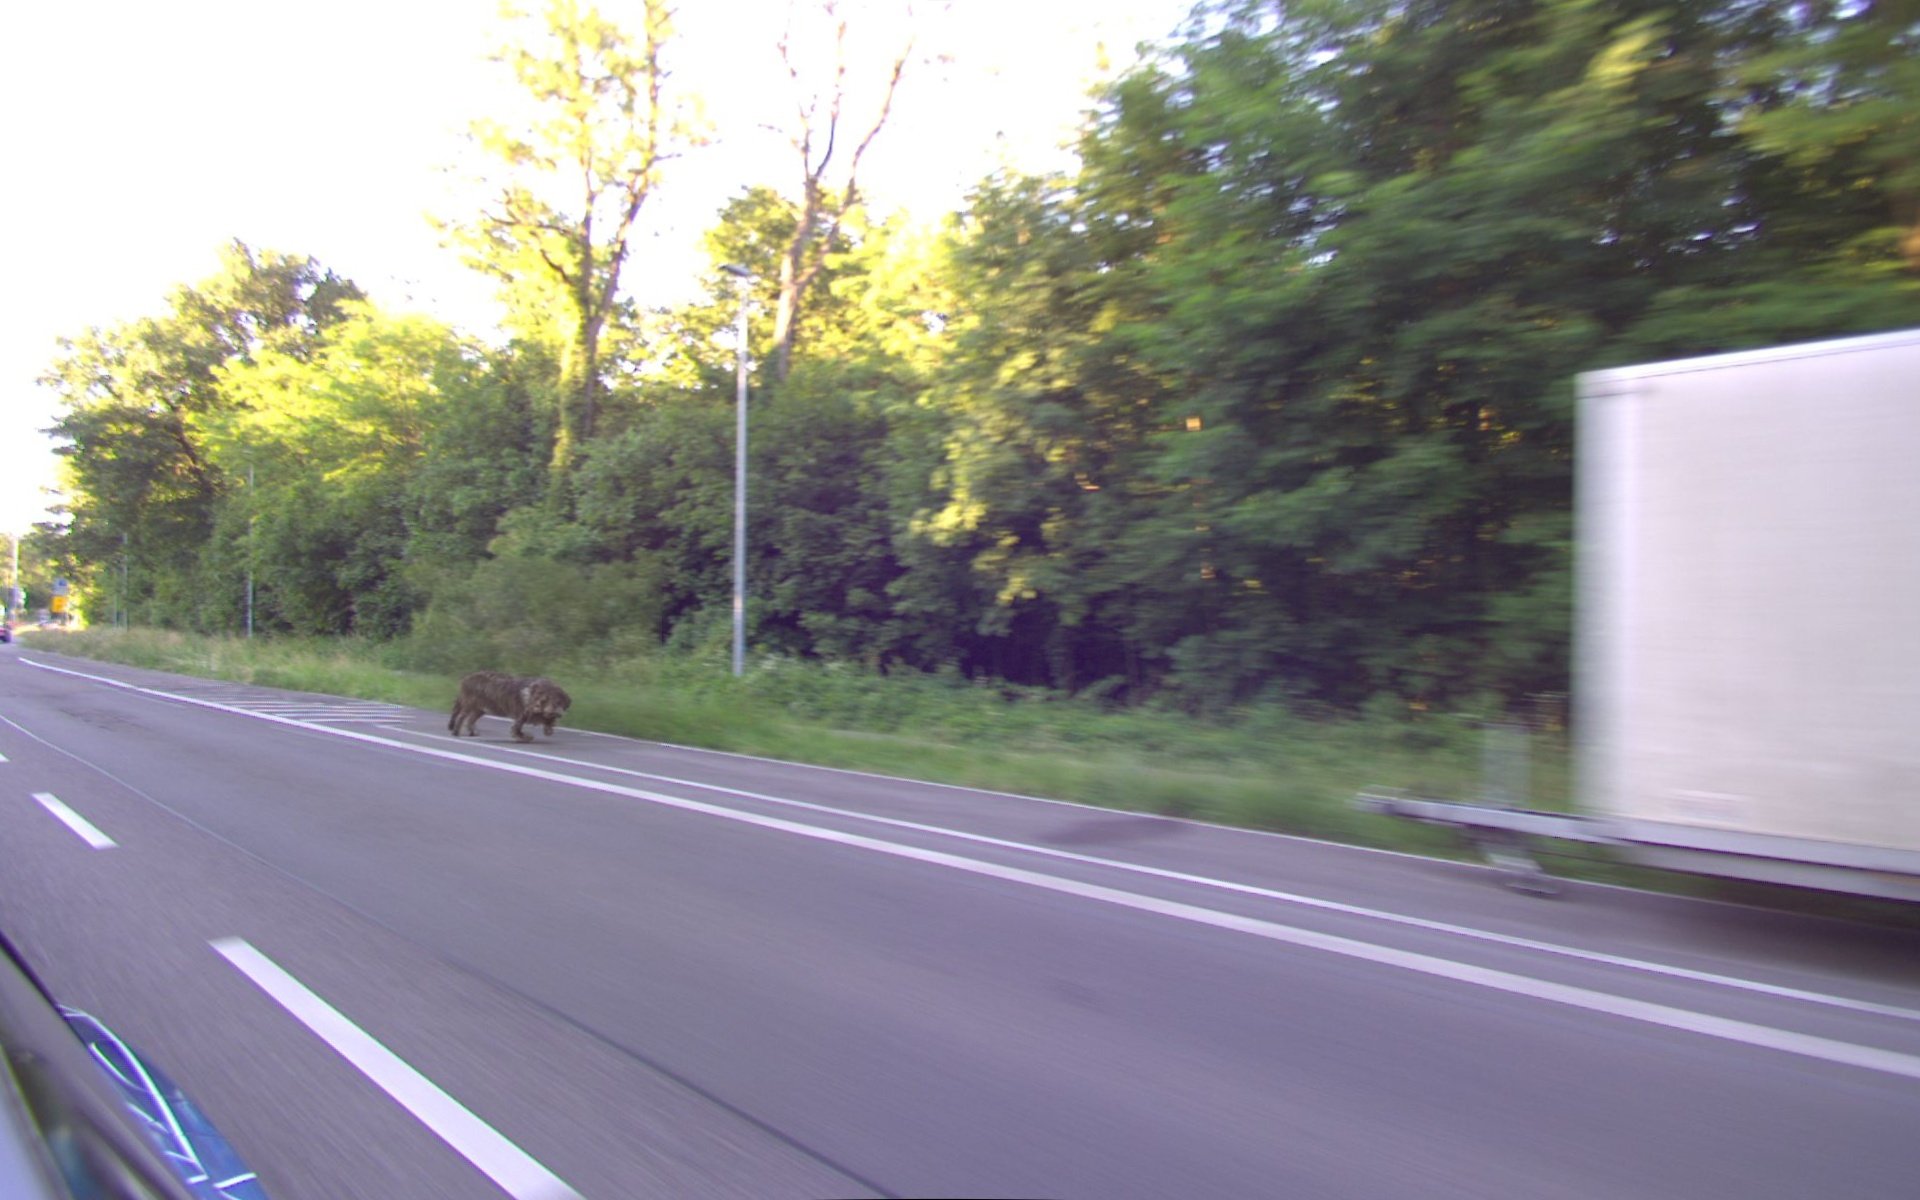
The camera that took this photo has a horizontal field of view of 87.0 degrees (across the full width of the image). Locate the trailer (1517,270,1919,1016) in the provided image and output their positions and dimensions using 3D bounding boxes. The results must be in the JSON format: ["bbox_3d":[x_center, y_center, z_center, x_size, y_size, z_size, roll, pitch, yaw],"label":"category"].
[{"bbox_3d":[5.586,0.193,3.966,5.623,2.946,2.302,-1,-4,41],"label":"trailer"}]

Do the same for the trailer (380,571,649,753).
[{"bbox_3d":[-6.325,0.812,14.197,4.140,2.184,1.798,-1,-3,40],"label":"trailer"}]

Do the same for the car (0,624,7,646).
[{"bbox_3d":[-67.930,2.406,70.416,4.466,1.446,2.041,-3,-5,43],"label":"car"}]
